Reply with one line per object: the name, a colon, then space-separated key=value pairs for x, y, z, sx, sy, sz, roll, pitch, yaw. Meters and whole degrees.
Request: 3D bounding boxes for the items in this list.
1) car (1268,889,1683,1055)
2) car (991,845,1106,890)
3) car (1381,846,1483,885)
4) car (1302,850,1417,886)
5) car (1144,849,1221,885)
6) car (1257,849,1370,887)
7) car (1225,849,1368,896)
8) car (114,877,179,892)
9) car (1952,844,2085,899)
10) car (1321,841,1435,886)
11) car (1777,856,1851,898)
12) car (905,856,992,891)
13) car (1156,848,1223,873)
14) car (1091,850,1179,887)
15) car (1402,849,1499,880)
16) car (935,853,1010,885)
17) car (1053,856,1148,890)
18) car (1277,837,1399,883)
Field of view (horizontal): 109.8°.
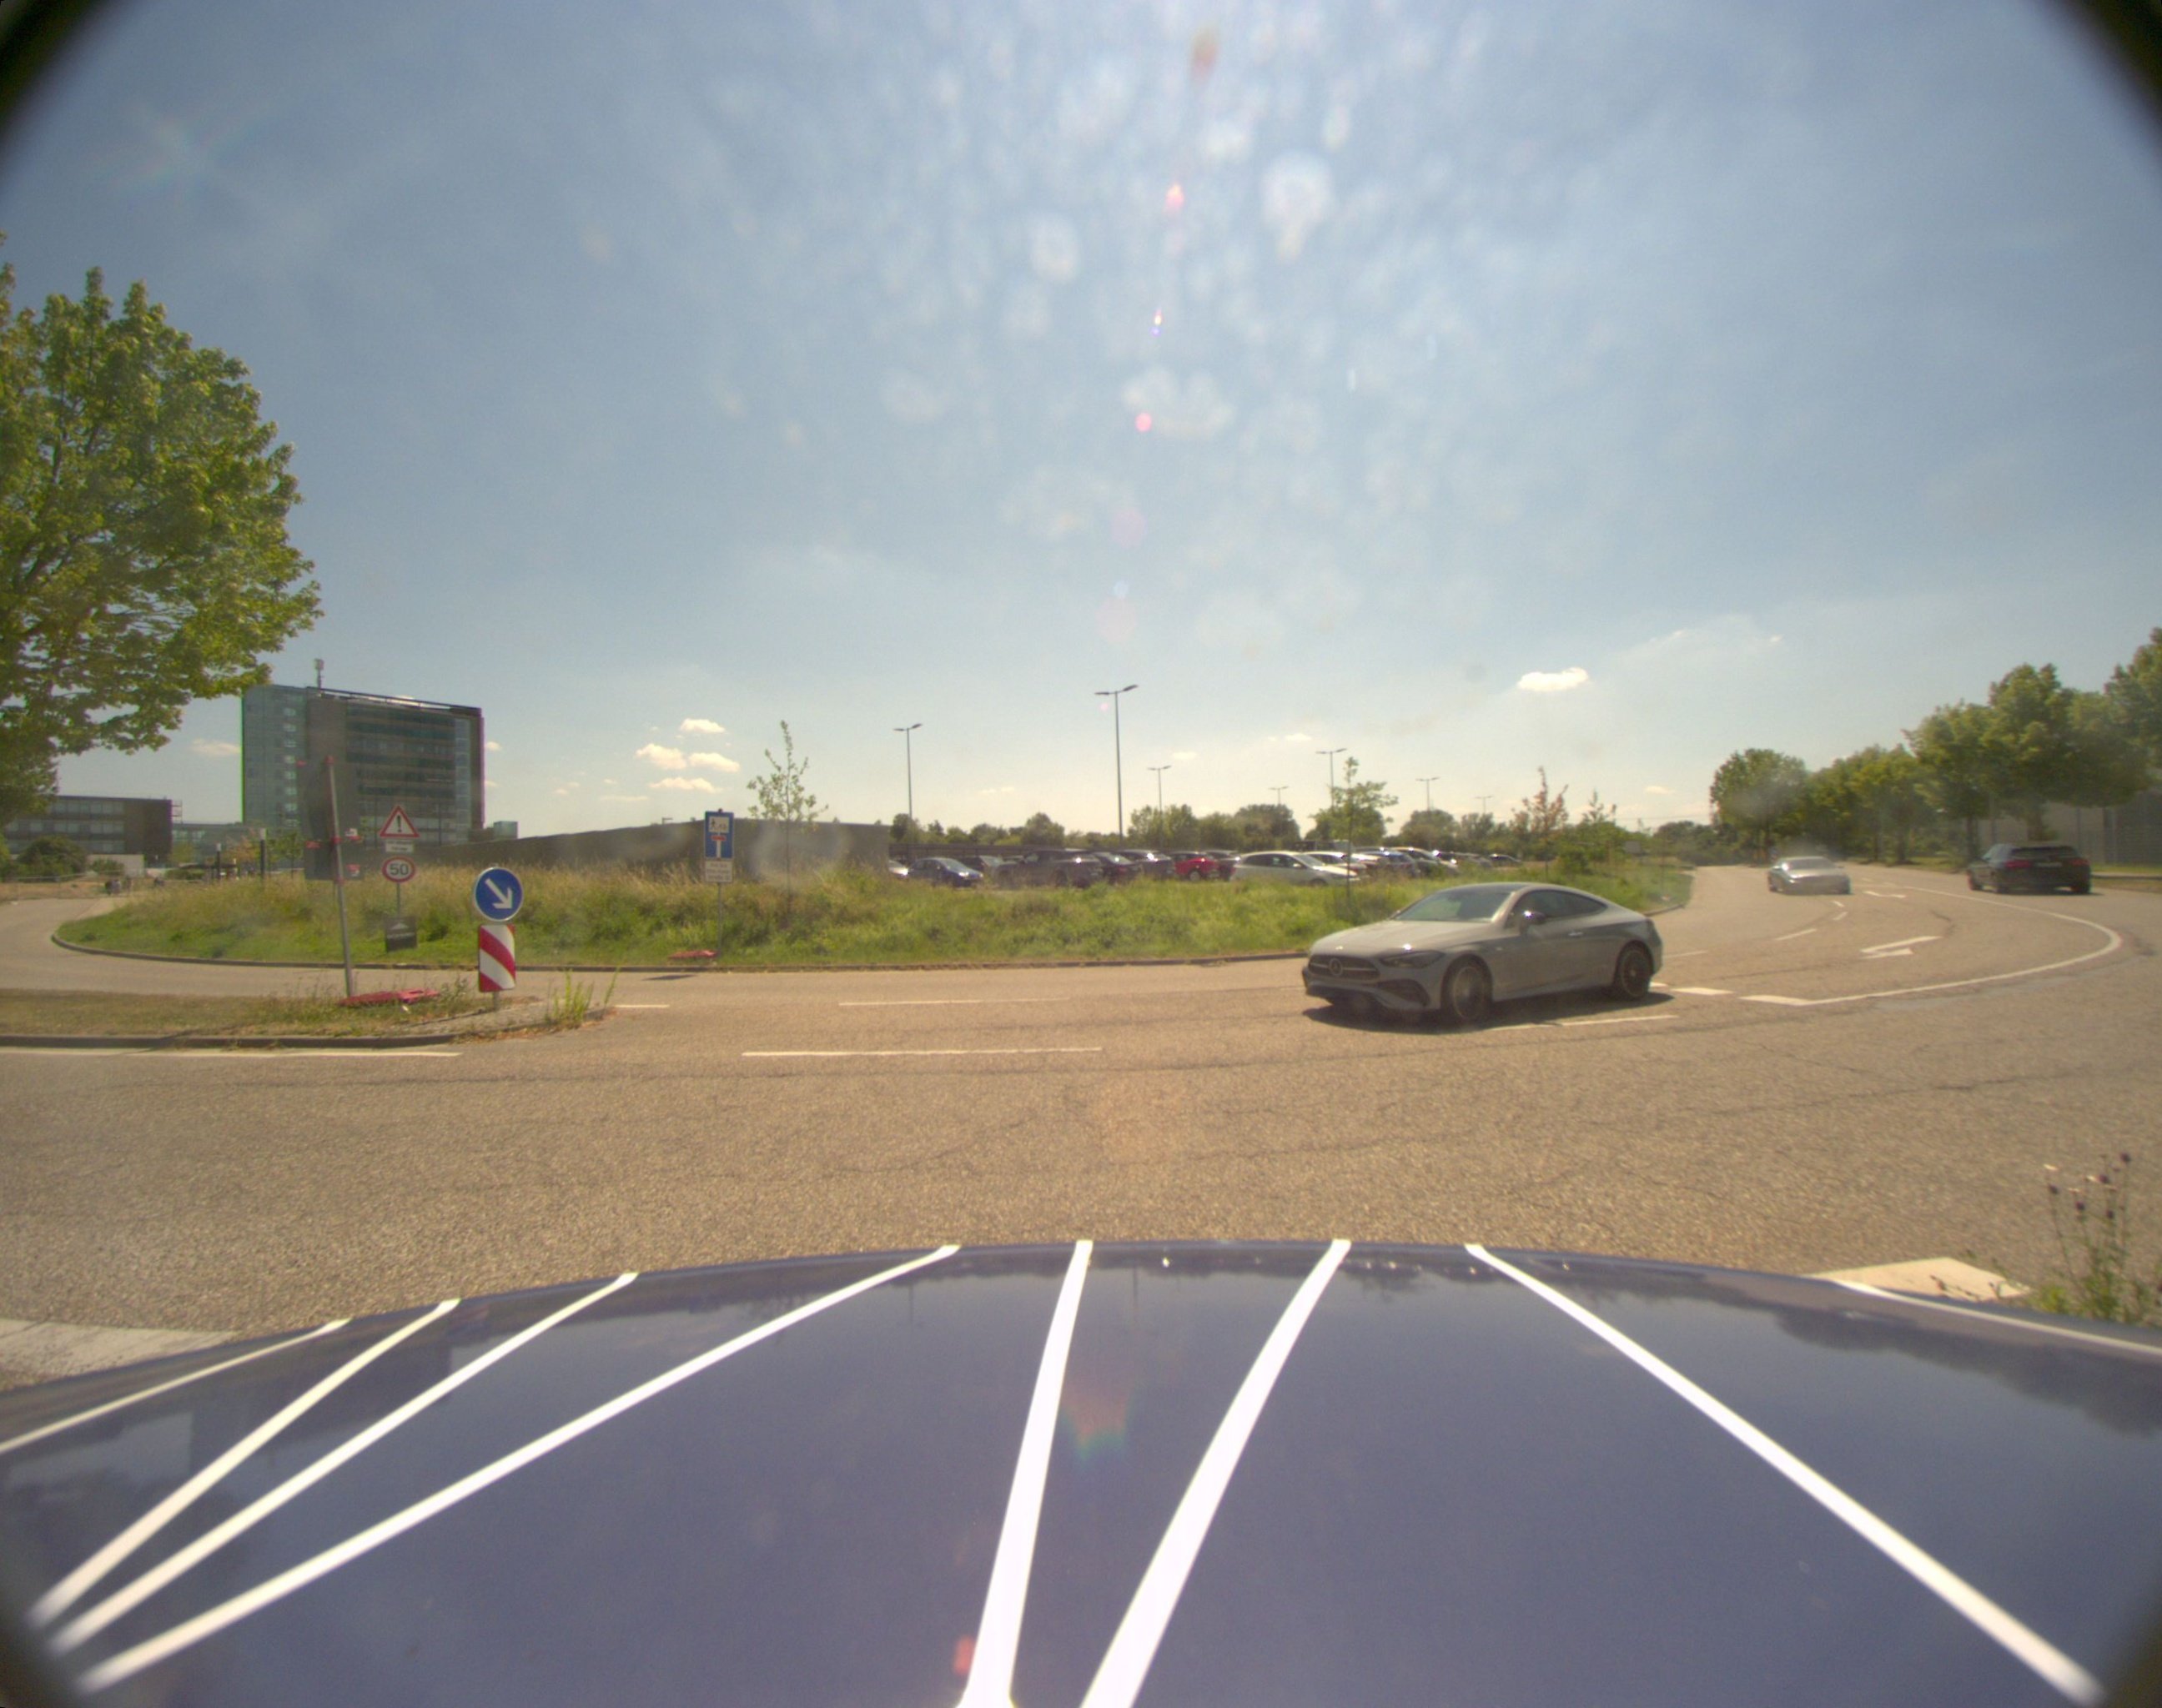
car: x=4.689 y=1.191 z=8.965 sx=4.639 sy=1.375 sz=1.895 roll=-1 pitch=-2 yaw=-26
car: x=-1.372 y=0.587 z=31.043 sx=4.592 sy=1.680 sz=1.781 roll=-3 pitch=-2 yaw=37
car: x=15.392 y=0.483 z=33.403 sx=3.838 sy=1.614 sz=1.620 roll=-1 pitch=0 yaw=36
car: x=10.925 y=0.577 z=29.884 sx=3.936 sy=1.250 sz=1.588 roll=-2 pitch=1 yaw=36
car: x=5.112 y=0.671 z=38.434 sx=3.411 sy=1.564 sz=1.525 roll=-4 pitch=-1 yaw=35
car: x=7.807 y=0.482 z=25.608 sx=3.262 sy=1.175 sz=1.504 roll=-2 pitch=1 yaw=39
car: x=6.581 y=0.575 z=23.395 sx=3.867 sy=1.290 sz=1.577 roll=-2 pitch=1 yaw=40
car: x=-88.572 y=2.870 z=72.058 sx=1.605 sy=1.266 sz=3.852 roll=0 pitch=0 yaw=38
car: x=30.972 y=0.526 z=25.265 sx=1.865 sy=1.624 sz=4.608 roll=-3 pitch=-1 yaw=40
car: x=12.417 y=0.407 z=31.832 sx=4.031 sy=1.420 sz=1.691 roll=-8 pitch=-3 yaw=36
car: x=28.749 y=0.869 z=29.902 sx=1.670 sy=1.366 sz=4.506 roll=-5 pitch=-2 yaw=40
car: x=-5.906 y=0.856 z=33.825 sx=3.630 sy=1.437 sz=1.656 roll=-1 pitch=0 yaw=31
car: x=6.615 y=0.393 z=46.372 sx=3.629 sy=1.490 sz=1.773 roll=0 pitch=1 yaw=37
car: x=2.460 y=0.652 z=34.796 sx=3.629 sy=1.588 sz=1.773 roll=0 pitch=1 yaw=37
car: x=18.469 y=0.542 z=38.038 sx=3.990 sy=1.284 sz=1.912 roll=-4 pitch=-1 yaw=40
car: x=-5.410 y=0.719 z=37.671 sx=3.629 sy=1.490 sz=1.602 roll=-1 pitch=0 yaw=37
car: x=0.810 y=0.782 z=32.594 sx=3.837 sy=1.355 sz=1.656 roll=0 pitch=1 yaw=37
car: x=9.347 y=0.244 z=27.796 sx=3.738 sy=1.518 sz=1.880 roll=-2 pitch=1 yaw=44
